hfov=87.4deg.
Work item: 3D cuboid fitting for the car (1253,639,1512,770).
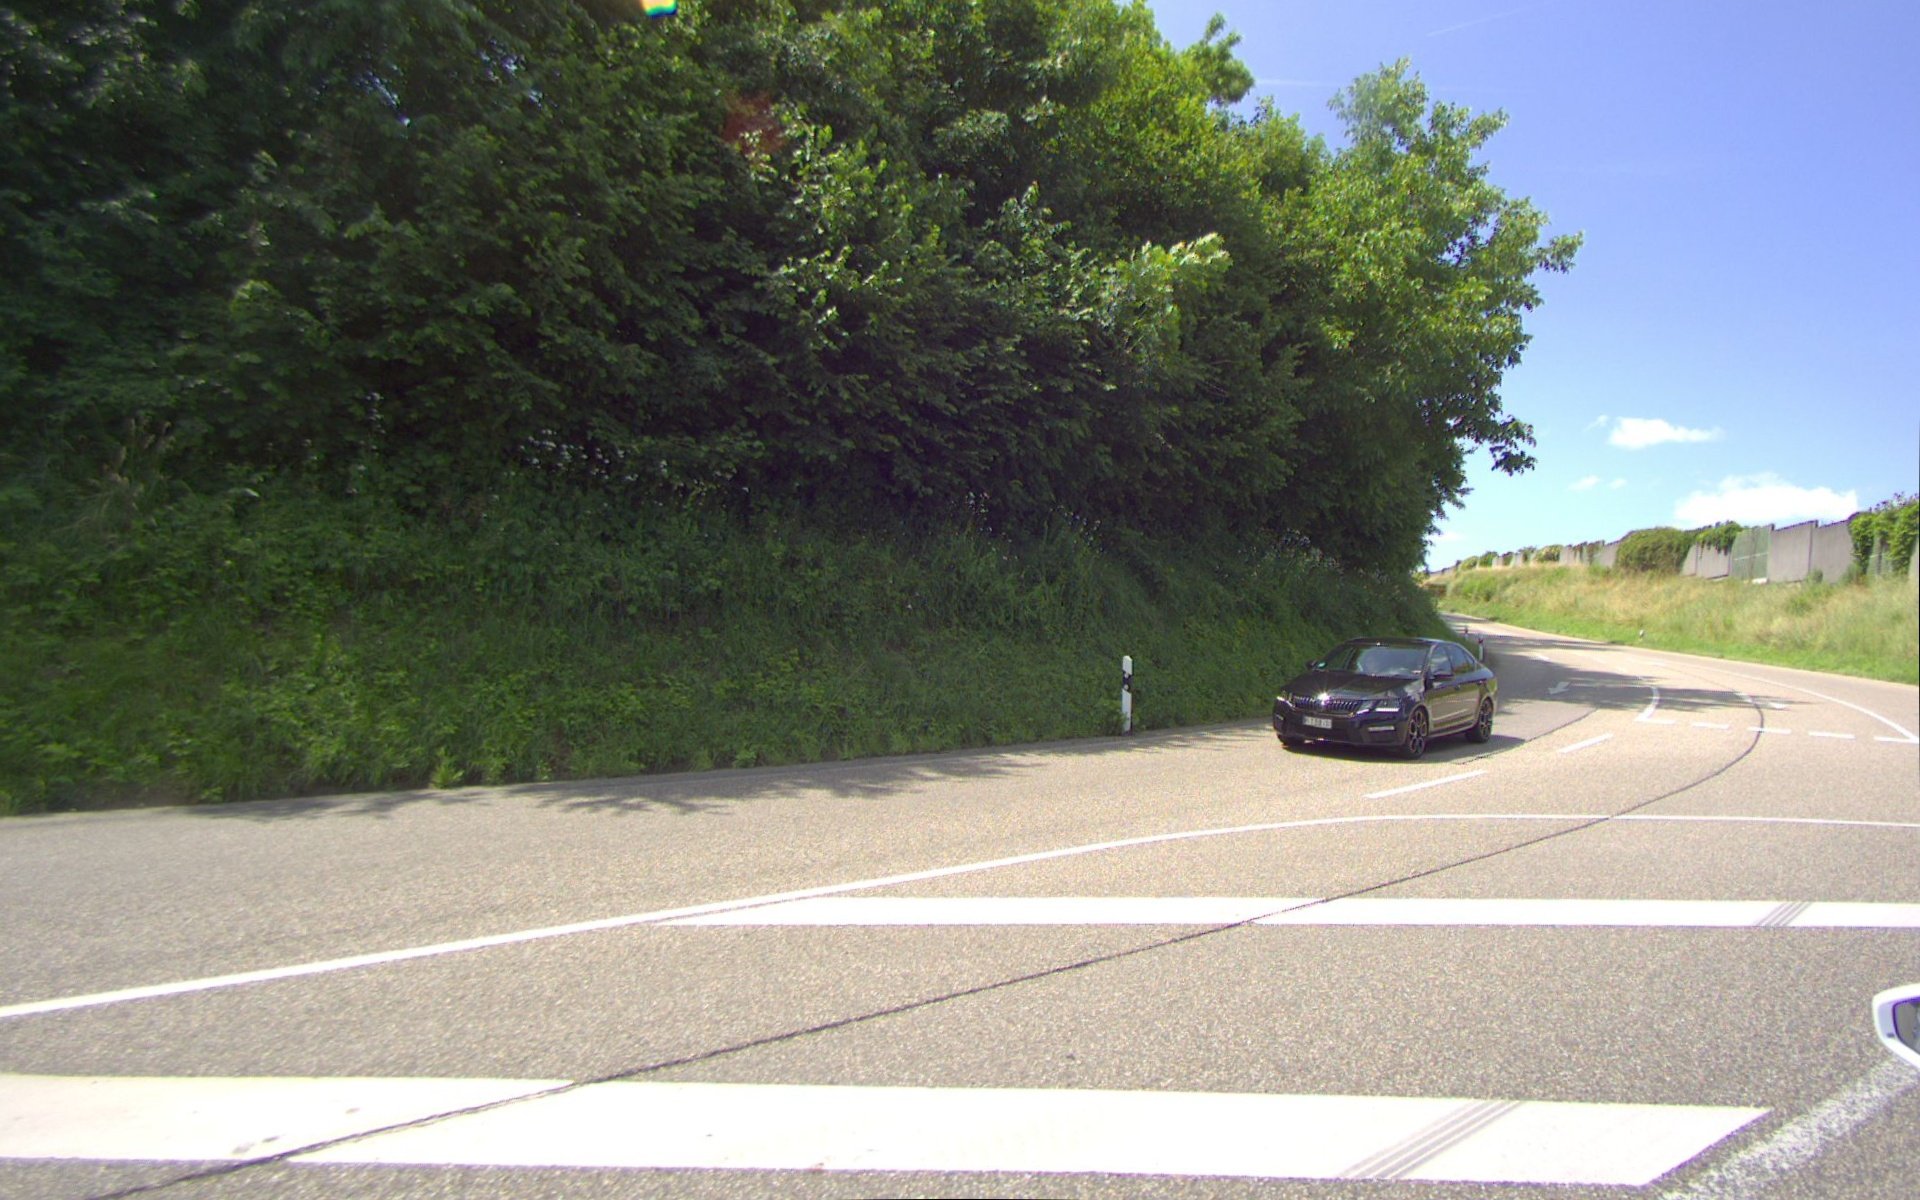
[{"bbox_3d":[5.784,1.292,13.458,4.316,1.438,1.668,3,-3,-44],"label":"car"}]
